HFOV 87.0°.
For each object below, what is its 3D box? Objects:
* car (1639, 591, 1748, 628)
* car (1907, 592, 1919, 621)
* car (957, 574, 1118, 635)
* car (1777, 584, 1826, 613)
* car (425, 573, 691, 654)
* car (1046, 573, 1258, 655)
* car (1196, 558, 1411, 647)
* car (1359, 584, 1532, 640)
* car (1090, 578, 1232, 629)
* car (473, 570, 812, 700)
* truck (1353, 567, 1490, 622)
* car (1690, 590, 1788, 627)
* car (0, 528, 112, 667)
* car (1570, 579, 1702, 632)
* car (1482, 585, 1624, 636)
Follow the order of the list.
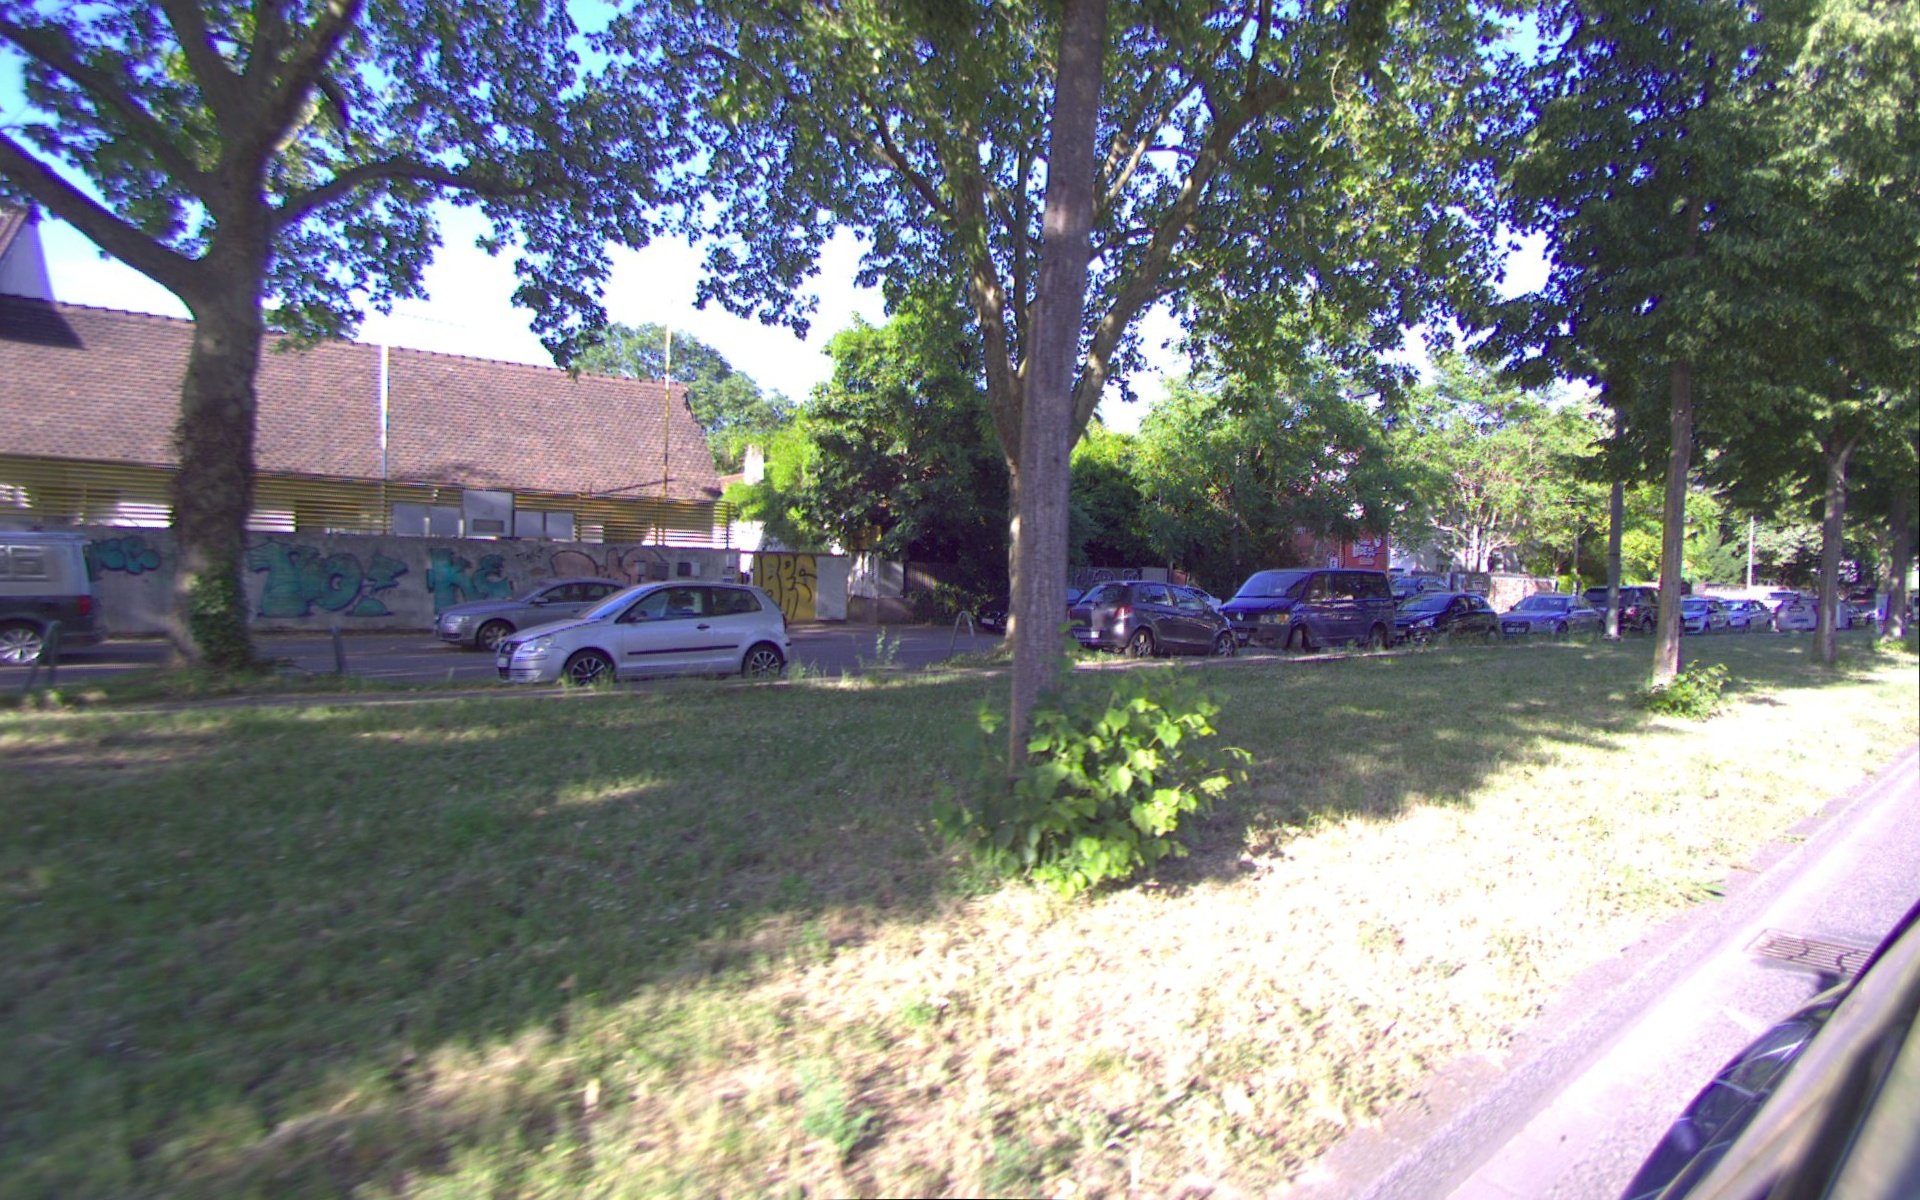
[{"bbox_3d":[26.227,0.310,36.172,4.036,1.226,2.000,0,1,-36],"label":"car"},{"bbox_3d":[53.542,0.367,55.400,3.928,1.605,1.998,0,1,-40],"label":"car"},{"bbox_3d":[2.322,0.104,29.499,4.573,1.547,1.998,0,4,-41],"label":"car"},{"bbox_3d":[60.970,-0.119,73.299,3.928,2.039,1.998,0,1,-40],"label":"car"},{"bbox_3d":[-8.240,0.238,20.939,4.820,1.504,1.900,0,1,-35],"label":"car"},{"bbox_3d":[3.697,0.215,19.263,3.843,1.397,1.943,0,1,-39],"label":"car"},{"bbox_3d":[7.655,0.024,22.340,4.927,1.763,2.039,0,1,-36],"label":"car"},{"bbox_3d":[12.336,0.267,25.607,4.567,1.265,2.000,0,1,-36],"label":"car"},{"bbox_3d":[6.581,0.091,32.866,4.568,1.548,1.999,0,1,-37],"label":"car"},{"bbox_3d":[-4.218,0.387,13.747,3.978,1.504,1.898,0,1,-40],"label":"car"},{"bbox_3d":[19.263,-0.234,42.081,6.459,2.101,2.456,0,1,-38],"label":"truck"},{"bbox_3d":[30.484,0.317,39.572,4.463,1.332,1.999,0,1,-38],"label":"car"},{"bbox_3d":[-15.881,-0.084,15.012,4.978,2.061,1.899,0,3,-38],"label":"car"},{"bbox_3d":[21.992,0.146,32.873,4.565,1.616,2.000,0,1,-35],"label":"car"},{"bbox_3d":[17.586,0.269,29.919,4.777,1.380,1.999,0,1,-38],"label":"car"}]
